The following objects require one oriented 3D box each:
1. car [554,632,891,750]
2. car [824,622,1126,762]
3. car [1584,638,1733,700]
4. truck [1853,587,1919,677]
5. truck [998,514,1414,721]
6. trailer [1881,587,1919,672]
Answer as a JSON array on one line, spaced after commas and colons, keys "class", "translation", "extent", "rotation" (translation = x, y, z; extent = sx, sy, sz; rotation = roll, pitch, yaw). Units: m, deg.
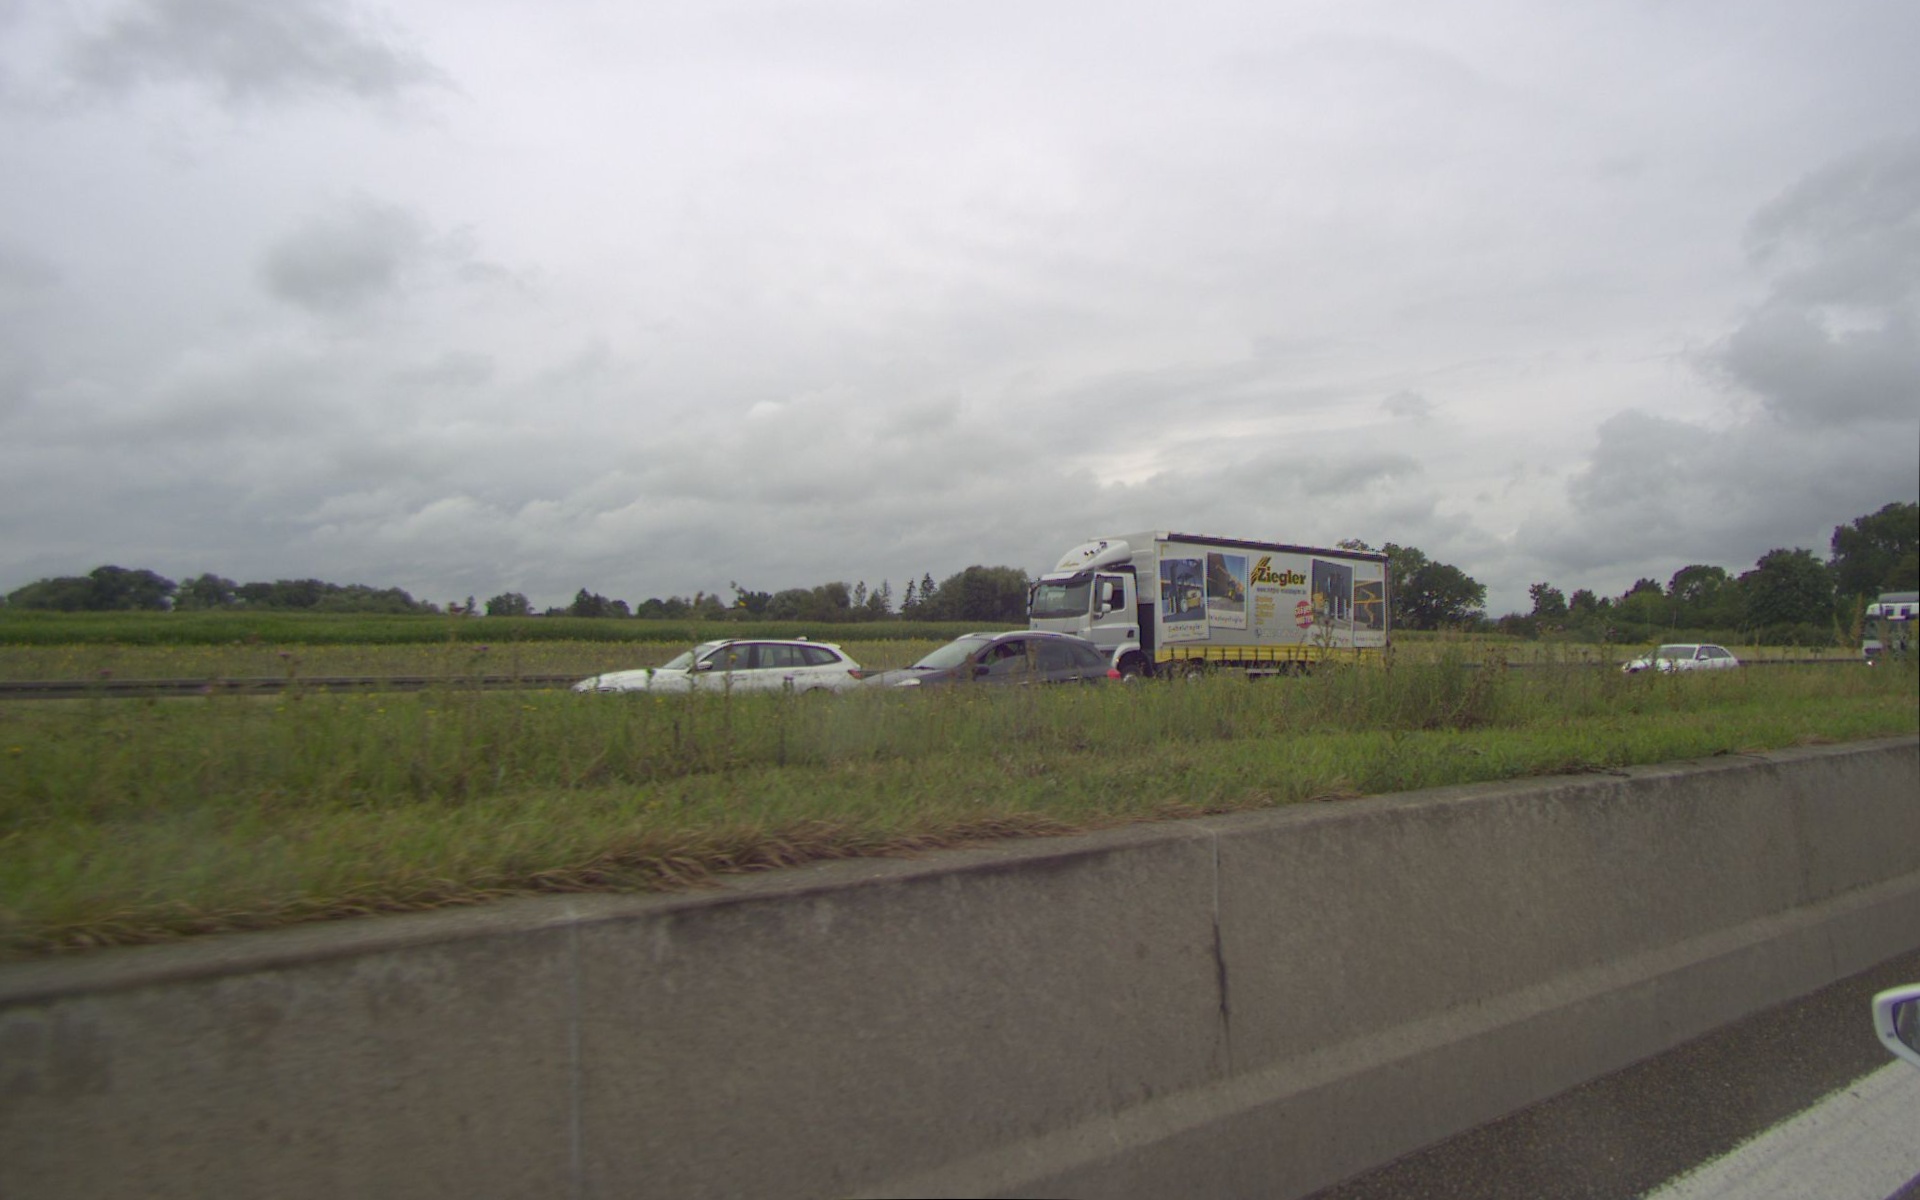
[{"class": "car", "translation": [-3.736, 1.350, 16.147], "extent": [4.957, 1.637, 1.873], "rotation": [2, -2, -31]}, {"class": "car", "translation": [0.249, 1.200, 14.188], "extent": [3.953, 1.730, 1.746], "rotation": [1, -2, -30]}, {"class": "car", "translation": [21.967, 2.136, 31.536], "extent": [4.780, 1.740, 1.984], "rotation": [2, 0, -30]}, {"class": "truck", "translation": [42.514, 1.354, 44.557], "extent": [5.802, 3.776, 2.628], "rotation": [0, 1, -30]}, {"class": "truck", "translation": [6.837, 0.539, 26.591], "extent": [11.657, 4.543, 3.493], "rotation": [2, 0, -32]}, {"class": "trailer", "translation": [47.883, 1.334, 47.718], "extent": [12.049, 3.776, 2.628], "rotation": [0, 1, -30]}]
